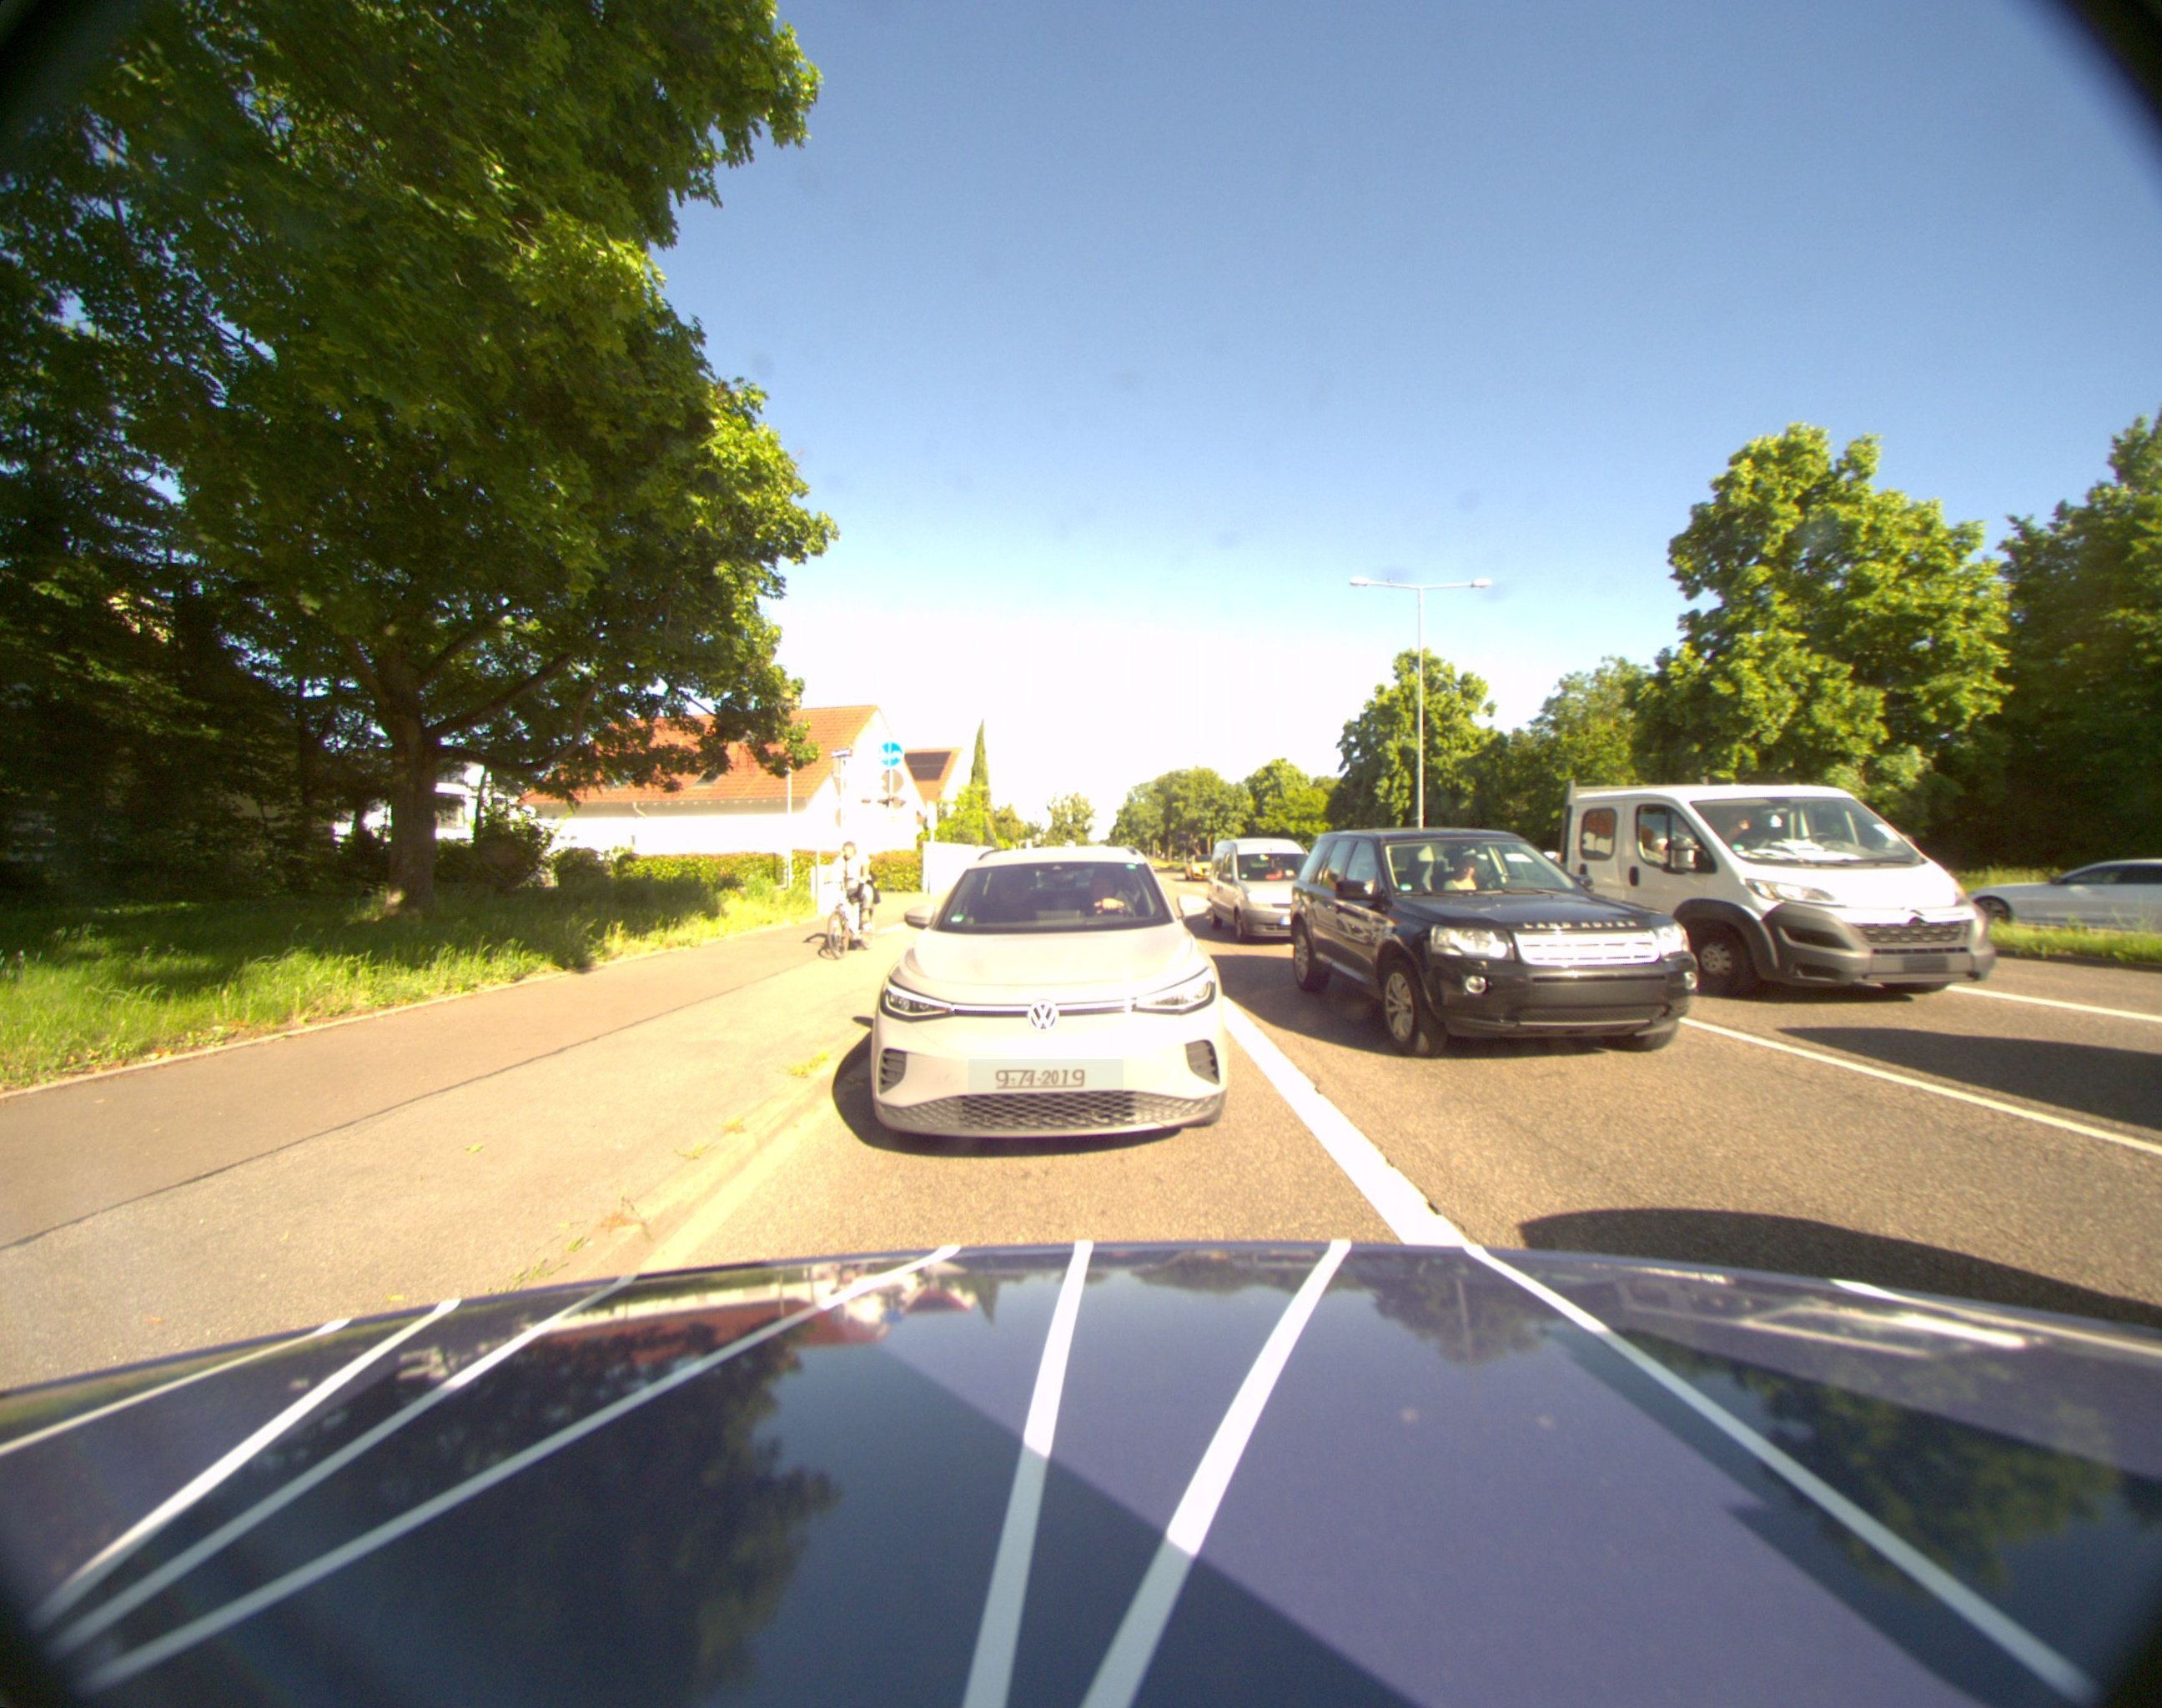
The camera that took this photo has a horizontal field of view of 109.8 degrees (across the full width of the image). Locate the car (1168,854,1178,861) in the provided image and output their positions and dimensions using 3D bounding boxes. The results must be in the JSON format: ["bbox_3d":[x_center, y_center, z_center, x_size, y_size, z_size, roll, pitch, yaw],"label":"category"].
[{"bbox_3d":[21.159,0.799,174.422,1.878,1.674,4.000,0,0,1],"label":"car"}]

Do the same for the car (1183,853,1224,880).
[{"bbox_3d":[6.984,0.696,43.479,1.704,1.466,3.931,-1,0,0],"label":"car"}]

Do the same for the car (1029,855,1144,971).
[{"bbox_3d":[0.109,0.866,13.015,1.632,1.586,4.024,-2,1,1],"label":"car"}]

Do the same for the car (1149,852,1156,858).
[{"bbox_3d":[20.630,0.398,218.521,1.792,1.674,4.000,0,0,1],"label":"car"}]

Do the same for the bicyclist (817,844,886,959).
[{"bbox_3d":[-3.304,0.657,11.017,0.580,1.572,0.997,3,1,4],"label":"bicyclist"}]

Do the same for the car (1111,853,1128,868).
[{"bbox_3d":[4.001,0.671,79.375,1.630,1.466,3.931,-1,0,0],"label":"car"}]

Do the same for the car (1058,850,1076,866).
[{"bbox_3d":[-1.360,0.396,76.044,1.630,1.523,3.931,-1,0,0],"label":"car"}]

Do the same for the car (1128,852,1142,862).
[{"bbox_3d":[8.190,0.463,116.226,1.727,1.436,3.999,0,0,-2],"label":"car"}]

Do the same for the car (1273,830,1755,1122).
[{"bbox_3d":[3.166,0.716,6.767,1.816,1.721,4.386,-2,1,1],"label":"car"}]

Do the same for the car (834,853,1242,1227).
[{"bbox_3d":[-0.170,0.850,5.572,1.858,1.679,4.206,0,1,1],"label":"car"}]

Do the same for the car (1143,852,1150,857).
[{"bbox_3d":[20.844,0.151,241.472,1.792,1.409,4.000,0,0,1],"label":"car"}]

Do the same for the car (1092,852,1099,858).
[{"bbox_3d":[3.847,0.185,200.673,1.726,1.630,4.000,0,0,1],"label":"car"}]

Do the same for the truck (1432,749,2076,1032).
[{"bbox_3d":[7.213,0.270,9.761,2.185,2.307,6.842,-2,1,0],"label":"truck"}]

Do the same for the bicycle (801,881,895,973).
[{"bbox_3d":[-3.325,0.999,11.028,0.580,1.091,1.988,3,1,4],"label":"bicycle"}]

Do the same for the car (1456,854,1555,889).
[{"bbox_3d":[19.288,0.739,34.761,1.894,1.515,4.503,0,0,-2],"label":"car"}]

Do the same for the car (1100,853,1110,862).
[{"bbox_3d":[4.247,0.578,134.323,1.726,1.630,4.000,0,0,1],"label":"car"}]

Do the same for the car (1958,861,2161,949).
[{"bbox_3d":[19.054,0.882,13.688,1.645,1.447,4.221,0,0,1],"label":"car"}]

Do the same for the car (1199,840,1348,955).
[{"bbox_3d":[3.325,0.654,13.962,1.632,1.741,4.386,-2,1,1],"label":"car"}]
